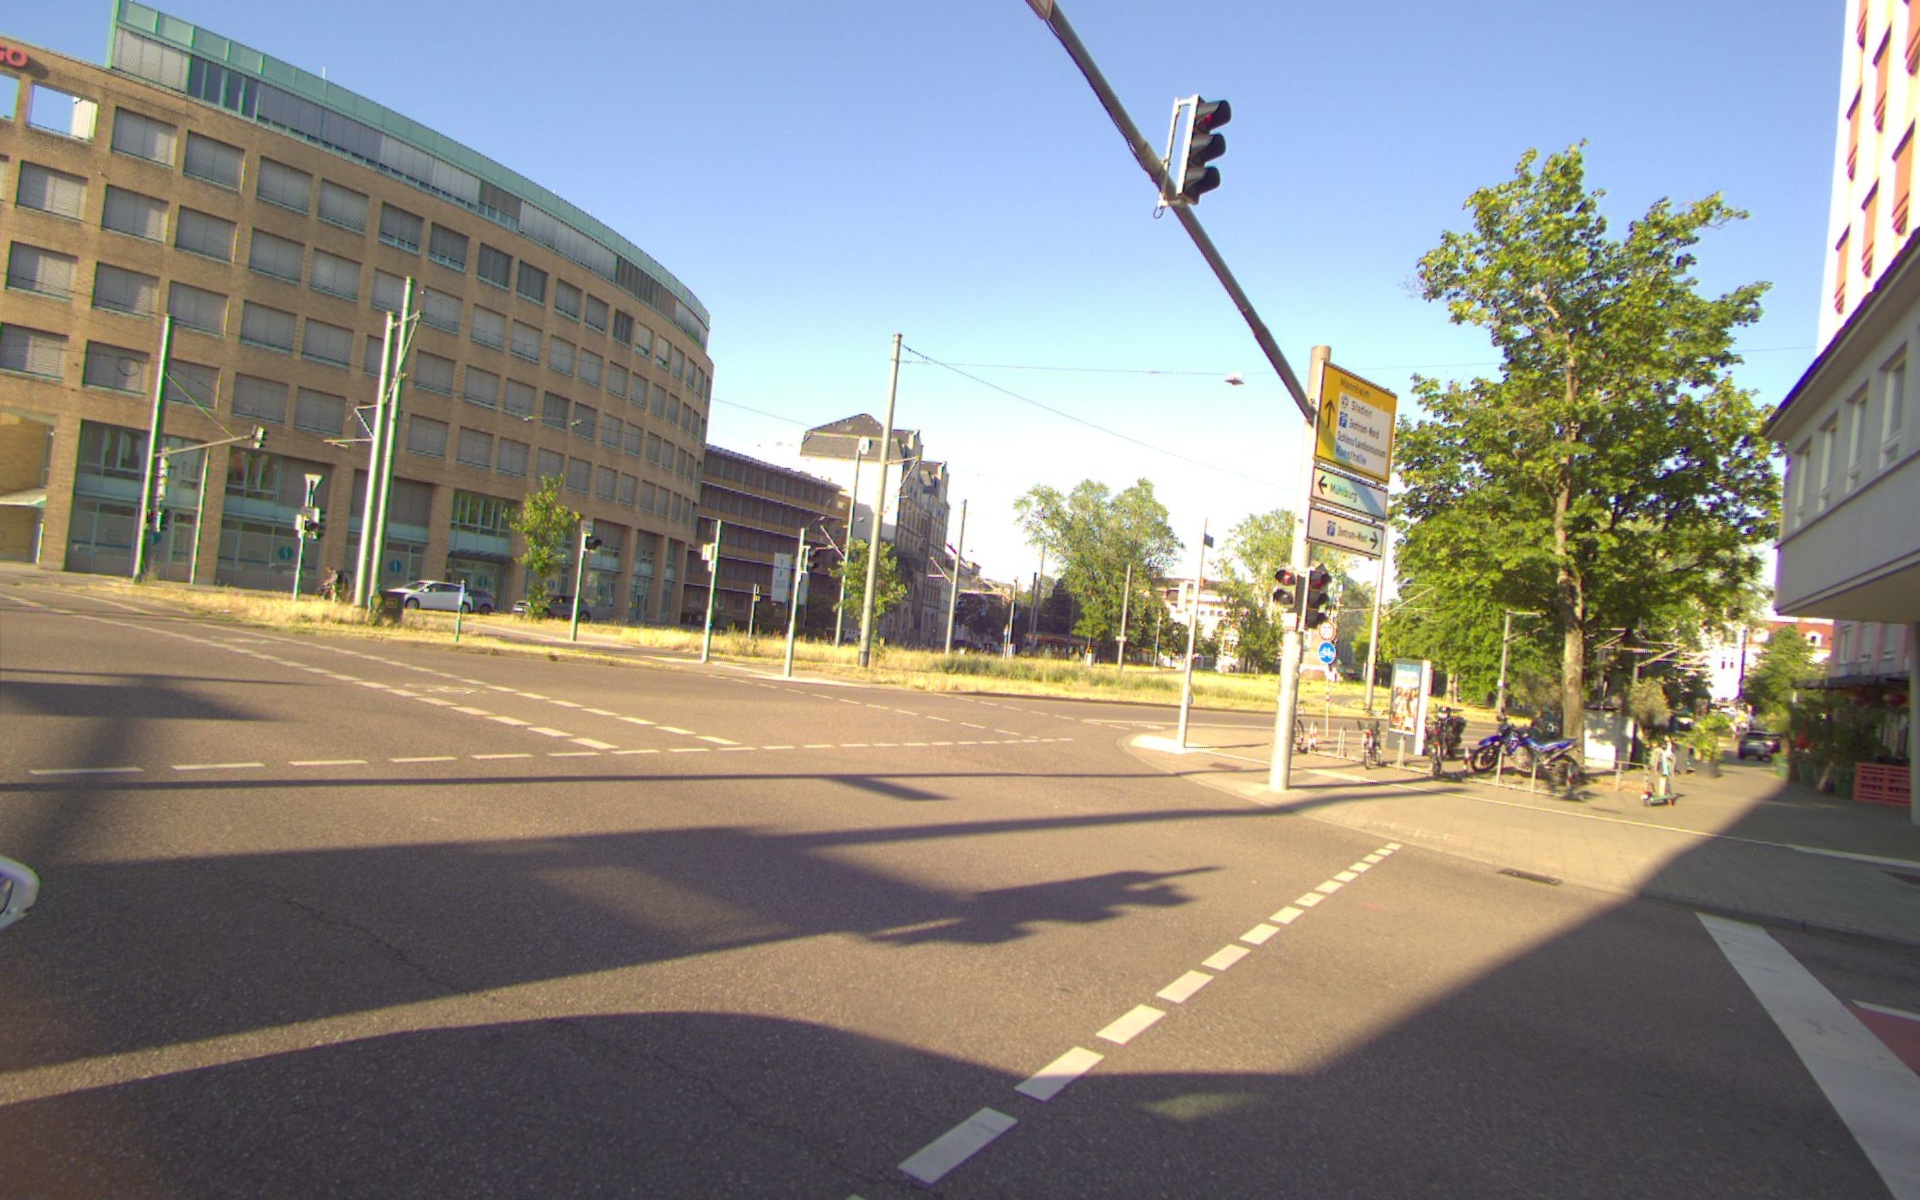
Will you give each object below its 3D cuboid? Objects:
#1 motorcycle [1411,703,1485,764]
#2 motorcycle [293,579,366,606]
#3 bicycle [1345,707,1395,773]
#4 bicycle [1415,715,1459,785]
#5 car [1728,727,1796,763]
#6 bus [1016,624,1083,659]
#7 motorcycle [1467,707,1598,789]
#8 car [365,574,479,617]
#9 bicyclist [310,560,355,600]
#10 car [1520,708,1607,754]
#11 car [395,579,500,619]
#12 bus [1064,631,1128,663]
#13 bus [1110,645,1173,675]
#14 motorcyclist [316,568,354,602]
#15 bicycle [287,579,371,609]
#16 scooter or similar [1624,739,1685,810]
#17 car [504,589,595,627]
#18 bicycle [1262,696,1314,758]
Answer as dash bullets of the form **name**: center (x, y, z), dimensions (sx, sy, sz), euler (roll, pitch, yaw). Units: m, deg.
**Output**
- **motorcycle**: center (11.918, 3.251, 24.523), dimensions (2.044, 1.323, 0.880), euler (7, -2, -44)
- **motorcycle**: center (-30.032, -0.340, 47.945), dimensions (1.015, 0.975, 2.723), euler (5, -3, 31)
- **bicycle**: center (8.321, 2.799, 20.389), dimensions (0.584, 1.128, 2.003), euler (6, 0, 30)
- **bicycle**: center (9.390, 2.911, 19.761), dimensions (0.584, 1.128, 2.058), euler (6, 0, 28)
- **car**: center (43.096, 7.809, 54.031), dimensions (3.842, 1.574, 1.945), euler (8, -2, -38)
- **bus**: center (10.741, 4.937, 119.220), dimensions (2.374, 3.247, 11.088), euler (5, -3, 36)
- **motorcycle**: center (12.308, 3.167, 21.719), dimensions (2.224, 1.408, 0.845), euler (6, -2, 20)
- **car**: center (-24.938, -0.184, 46.779), dimensions (1.961, 1.509, 4.172), euler (5, -3, 30)
- **bicyclist**: center (-28.527, -0.906, 45.727), dimensions (1.135, 1.590, 1.225), euler (5, -2, 30)
- **car**: center (23.294, 5.049, 38.787), dimensions (3.607, 1.444, 1.625), euler (8, -2, -38)
- **car**: center (-26.971, -0.016, 53.083), dimensions (1.954, 1.555, 4.489), euler (5, -3, 32)
- **bus**: center (17.404, 6.020, 127.822), dimensions (2.320, 3.247, 11.034), euler (4, -3, 40)
- **bus**: center (24.661, 8.144, 135.853), dimensions (2.324, 3.247, 11.018), euler (4, -3, 45)
- **motorcyclist**: center (-29.895, -0.707, 48.119), dimensions (1.015, 1.452, 1.067), euler (5, -2, 31)
- **bicycle**: center (-28.614, -0.266, 45.677), dimensions (1.135, 1.012, 2.966), euler (5, -2, 30)
- **scooter or similar**: center (13.287, 3.311, 19.241), dimensions (1.549, 1.250, 0.479), euler (6, -1, -40)
- **car**: center (-21.432, 0.453, 52.708), dimensions (1.790, 1.509, 4.059), euler (5, -3, 31)
- **bicycle**: center (6.934, 2.654, 21.225), dimensions (0.584, 1.129, 1.974), euler (6, 0, 29)
